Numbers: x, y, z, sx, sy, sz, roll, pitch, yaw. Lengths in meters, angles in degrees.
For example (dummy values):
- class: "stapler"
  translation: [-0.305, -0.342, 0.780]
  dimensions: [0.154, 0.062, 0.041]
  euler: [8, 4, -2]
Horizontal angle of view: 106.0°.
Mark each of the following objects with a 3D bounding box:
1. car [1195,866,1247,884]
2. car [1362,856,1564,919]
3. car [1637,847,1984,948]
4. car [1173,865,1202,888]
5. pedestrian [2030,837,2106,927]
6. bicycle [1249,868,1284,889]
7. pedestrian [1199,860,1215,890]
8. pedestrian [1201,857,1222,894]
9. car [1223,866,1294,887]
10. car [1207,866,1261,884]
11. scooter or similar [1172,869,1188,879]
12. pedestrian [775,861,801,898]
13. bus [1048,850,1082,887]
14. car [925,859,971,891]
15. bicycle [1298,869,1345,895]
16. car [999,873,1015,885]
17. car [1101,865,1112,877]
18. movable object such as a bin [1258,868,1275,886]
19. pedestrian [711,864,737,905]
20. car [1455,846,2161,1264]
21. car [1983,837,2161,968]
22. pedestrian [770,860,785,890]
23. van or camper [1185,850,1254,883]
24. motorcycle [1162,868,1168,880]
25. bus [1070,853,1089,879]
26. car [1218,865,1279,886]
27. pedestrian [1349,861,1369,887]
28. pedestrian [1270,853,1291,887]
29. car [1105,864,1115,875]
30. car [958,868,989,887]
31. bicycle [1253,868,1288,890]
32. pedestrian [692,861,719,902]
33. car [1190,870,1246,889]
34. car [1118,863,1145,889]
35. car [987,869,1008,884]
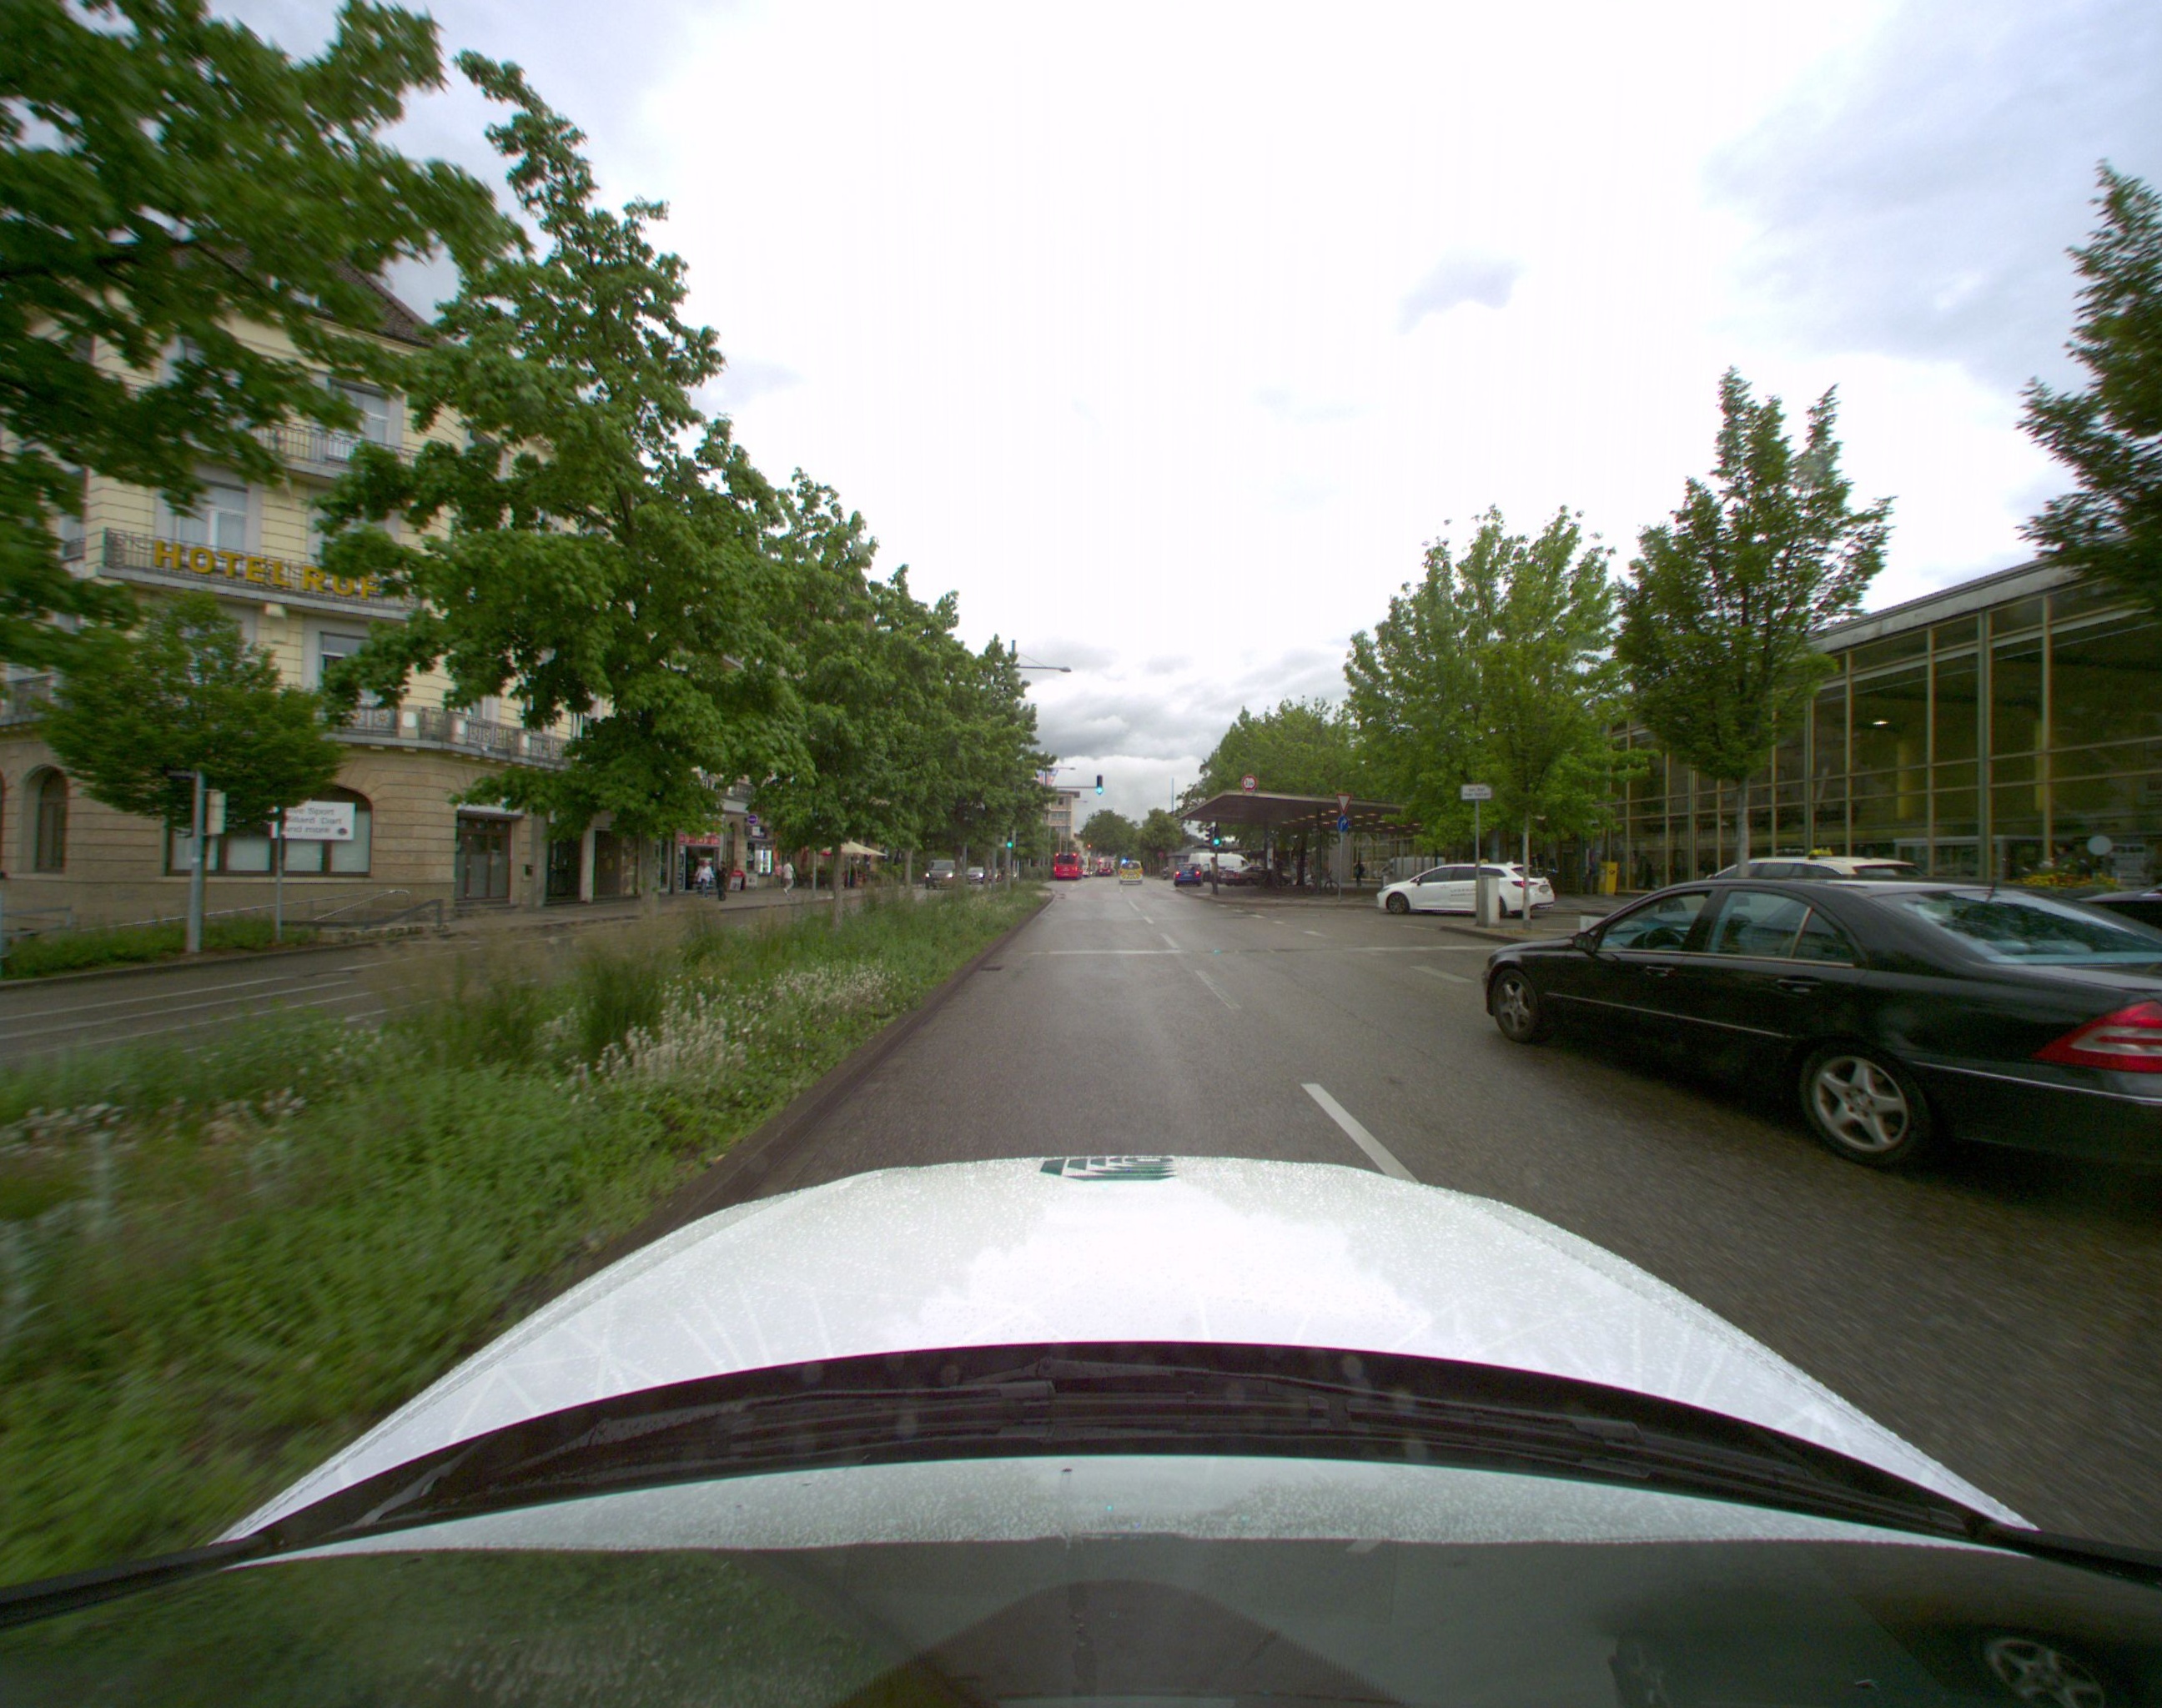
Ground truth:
- class: "car"
  translation: [11.689, 1.758, 67.949]
  dimensions: [4.007, 1.443, 1.849]
  euler: [0, -2, -26]
- class: "car"
  translation: [10.403, 0.901, 22.523]
  dimensions: [1.772, 1.546, 4.722]
  euler: [0, -2, -38]
- class: "car"
  translation: [13.725, 0.744, 15.885]
  dimensions: [1.991, 1.599, 4.946]
  euler: [-2, -1, -7]
- class: "car"
  translation: [7.373, 1.556, 56.704]
  dimensions: [1.850, 1.569, 4.005]
  euler: [-1, -2, 5]
- class: "pedestrian"
  translation: [18.476, 0.523, 15.263]
  dimensions: [0.727, 1.626, 0.788]
  euler: [0, -2, -43]
- class: "bicycle"
  translation: [9.854, 1.311, 43.219]
  dimensions: [1.832, 1.056, 0.418]
  euler: [-1, -2, -17]
- class: "pedestrian"
  translation: [8.794, 1.465, 56.923]
  dimensions: [0.829, 2.014, 0.888]
  euler: [-2, -1, -3]
- class: "pedestrian"
  translation: [6.194, 1.011, 38.659]
  dimensions: [0.745, 1.747, 0.834]
  euler: [-1, -2, -7]
- class: "car"
  translation: [11.650, 1.455, 53.539]
  dimensions: [4.198, 1.325, 1.828]
  euler: [0, -2, -19]
- class: "car"
  translation: [12.370, 1.690, 65.743]
  dimensions: [4.007, 1.443, 1.849]
  euler: [0, -2, -26]
- class: "scooter or similar"
  translation: [11.373, 2.329, 93.604]
  dimensions: [2.161, 1.110, 0.423]
  euler: [-1, -1, -38]
- class: "pedestrian"
  translation: [-14.839, 1.288, 41.249]
  dimensions: [0.876, 1.812, 0.750]
  euler: [-5, -2, 1]
- class: "bus"
  translation: [-1.787, 1.738, 95.793]
  dimensions: [3.533, 3.980, 11.170]
  euler: [-2, -1, 1]
- class: "car"
  translation: [-8.988, 1.421, 55.522]
  dimensions: [1.985, 2.014, 5.004]
  euler: [-2, -1, 3]
- class: "bicycle"
  translation: [10.154, 1.184, 34.393]
  dimensions: [1.821, 1.056, 0.420]
  euler: [-1, -1, 0]
- class: "car"
  translation: [-9.343, 3.151, 103.152]
  dimensions: [1.592, 1.531, 3.654]
  euler: [-2, -1, 1]
- class: "car"
  translation: [4.523, 2.973, 144.394]
  dimensions: [1.986, 2.014, 4.001]
  euler: [-2, -1, 1]
- class: "movable object such as a bin"
  translation: [11.071, 1.365, 48.559]
  dimensions: [0.750, 1.067, 0.747]
  euler: [-2, -1, -8]
- class: "pedestrian"
  translation: [-14.777, 1.246, 33.686]
  dimensions: [0.679, 1.664, 0.807]
  euler: [-2, -1, 1]
- class: "car"
  translation: [4.430, 0.746, 5.202]
  dimensions: [1.692, 1.466, 4.443]
  euler: [-2, -1, -5]
- class: "car"
  translation: [14.140, 0.580, 9.392]
  dimensions: [1.987, 1.599, 4.957]
  euler: [0, -1, 0]
- class: "pedestrian"
  translation: [-17.334, 1.208, 46.454]
  dimensions: [0.666, 1.664, 0.535]
  euler: [-2, -2, -8]
- class: "van or camper"
  translation: [12.597, 1.135, 74.008]
  dimensions: [5.978, 2.763, 2.180]
  euler: [-1, -2, -26]
- class: "motorcycle"
  translation: [9.426, 2.219, 90.912]
  dimensions: [0.592, 1.288, 1.957]
  euler: [-1, -1, 7]
- class: "bus"
  translation: [-0.217, 1.882, 125.231]
  dimensions: [2.796, 3.747, 10.441]
  euler: [-1, -1, 0]
- class: "car"
  translation: [11.758, 1.506, 57.204]
  dimensions: [4.011, 1.359, 1.847]
  euler: [0, -2, -30]
- class: "pedestrian"
  translation: [17.266, 1.262, 50.551]
  dimensions: [0.864, 1.559, 0.812]
  euler: [-2, -1, -6]
- class: "pedestrian"
  translation: [11.019, 0.877, 44.967]
  dimensions: [0.853, 1.835, 1.190]
  euler: [-1, -2, 1]
- class: "car"
  translation: [5.644, 3.089, 159.872]
  dimensions: [1.986, 2.014, 4.001]
  euler: [-2, -1, 1]
- class: "car"
  translation: [-9.723, 2.124, 74.106]
  dimensions: [1.986, 1.543, 4.634]
  euler: [-2, -1, 1]
- class: "bicycle"
  translation: [9.955, 1.307, 42.770]
  dimensions: [1.832, 1.056, 0.418]
  euler: [-1, -2, -17]
- class: "pedestrian"
  translation: [-15.515, 1.121, 33.652]
  dimensions: [0.678, 1.664, 0.808]
  euler: [-2, -1, 4]
- class: "car"
  translation: [10.834, 1.986, 64.507]
  dimensions: [4.007, 1.443, 1.849]
  euler: [0, -2, -26]
- class: "car"
  translation: [4.131, 1.793, 67.731]
  dimensions: [1.986, 2.014, 5.062]
  euler: [-2, -1, 1]
- class: "car"
  translation: [-8.858, 2.371, 86.530]
  dimensions: [1.741, 1.430, 3.954]
  euler: [-2, -1, 1]
